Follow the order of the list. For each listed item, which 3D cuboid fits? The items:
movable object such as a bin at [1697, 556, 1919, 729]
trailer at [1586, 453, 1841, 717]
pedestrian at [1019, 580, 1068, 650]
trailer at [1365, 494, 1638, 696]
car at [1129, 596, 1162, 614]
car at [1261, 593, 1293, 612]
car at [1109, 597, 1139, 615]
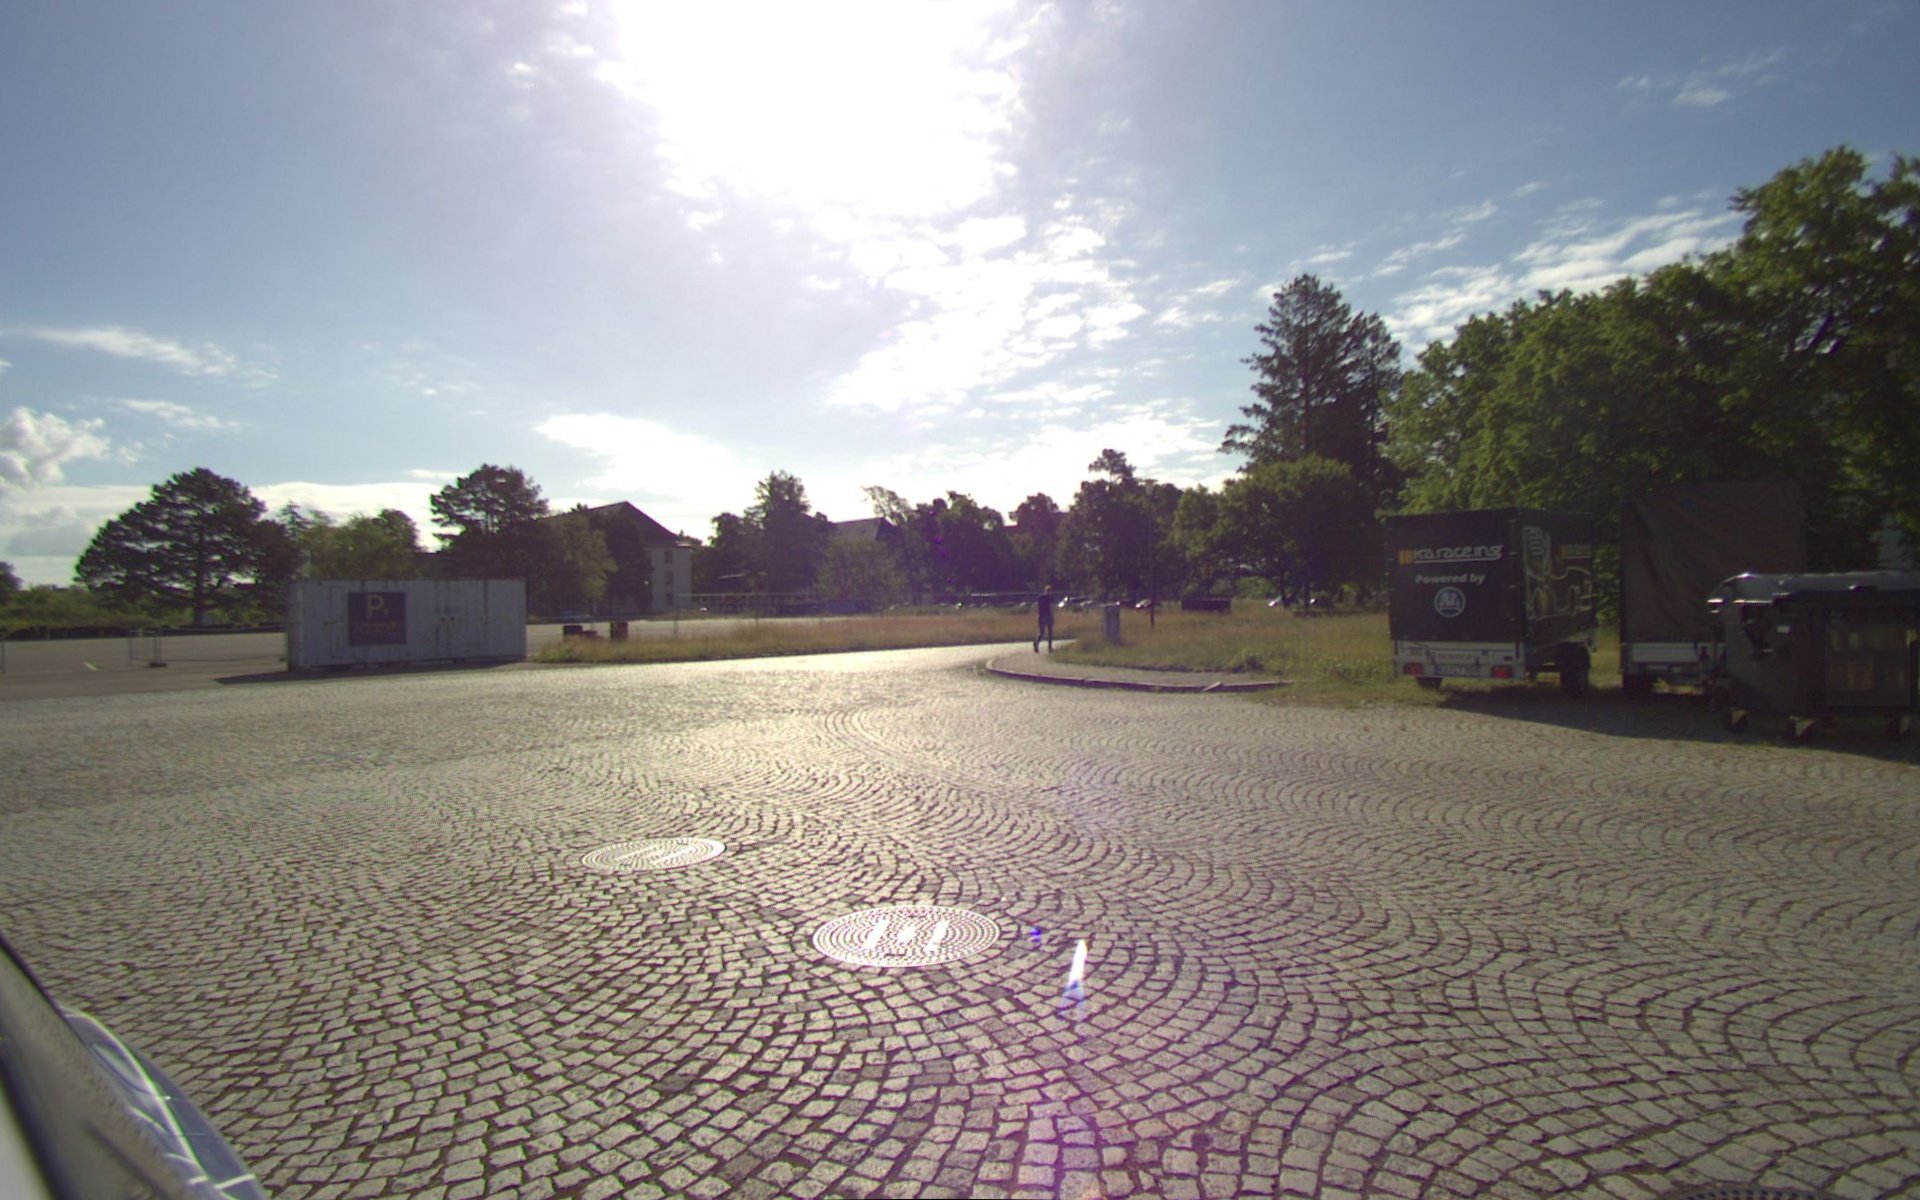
[{"bbox_3d":[7.506,0.350,8.822,1.346,1.396,1.047,-1,0,3],"label":"movable object such as a bin"},{"bbox_3d":[8.779,-0.189,11.698,1.941,2.409,4.791,-2,1,40],"label":"trailer"},{"bbox_3d":[2.369,0.404,28.564,1.125,1.928,0.801,-1,0,-44],"label":"pedestrian"},{"bbox_3d":[7.458,-0.110,13.736,4.403,2.290,2.015,-3,1,-45],"label":"trailer"},{"bbox_3d":[22.361,0.623,121.795,2.001,2.029,3.942,-2,0,44],"label":"car"},{"bbox_3d":[34.157,0.260,109.070,1.998,2.029,3.948,-2,-1,39],"label":"car"},{"bbox_3d":[20.087,0.706,123.705,1.997,2.029,3.950,-2,0,37],"label":"car"}]
